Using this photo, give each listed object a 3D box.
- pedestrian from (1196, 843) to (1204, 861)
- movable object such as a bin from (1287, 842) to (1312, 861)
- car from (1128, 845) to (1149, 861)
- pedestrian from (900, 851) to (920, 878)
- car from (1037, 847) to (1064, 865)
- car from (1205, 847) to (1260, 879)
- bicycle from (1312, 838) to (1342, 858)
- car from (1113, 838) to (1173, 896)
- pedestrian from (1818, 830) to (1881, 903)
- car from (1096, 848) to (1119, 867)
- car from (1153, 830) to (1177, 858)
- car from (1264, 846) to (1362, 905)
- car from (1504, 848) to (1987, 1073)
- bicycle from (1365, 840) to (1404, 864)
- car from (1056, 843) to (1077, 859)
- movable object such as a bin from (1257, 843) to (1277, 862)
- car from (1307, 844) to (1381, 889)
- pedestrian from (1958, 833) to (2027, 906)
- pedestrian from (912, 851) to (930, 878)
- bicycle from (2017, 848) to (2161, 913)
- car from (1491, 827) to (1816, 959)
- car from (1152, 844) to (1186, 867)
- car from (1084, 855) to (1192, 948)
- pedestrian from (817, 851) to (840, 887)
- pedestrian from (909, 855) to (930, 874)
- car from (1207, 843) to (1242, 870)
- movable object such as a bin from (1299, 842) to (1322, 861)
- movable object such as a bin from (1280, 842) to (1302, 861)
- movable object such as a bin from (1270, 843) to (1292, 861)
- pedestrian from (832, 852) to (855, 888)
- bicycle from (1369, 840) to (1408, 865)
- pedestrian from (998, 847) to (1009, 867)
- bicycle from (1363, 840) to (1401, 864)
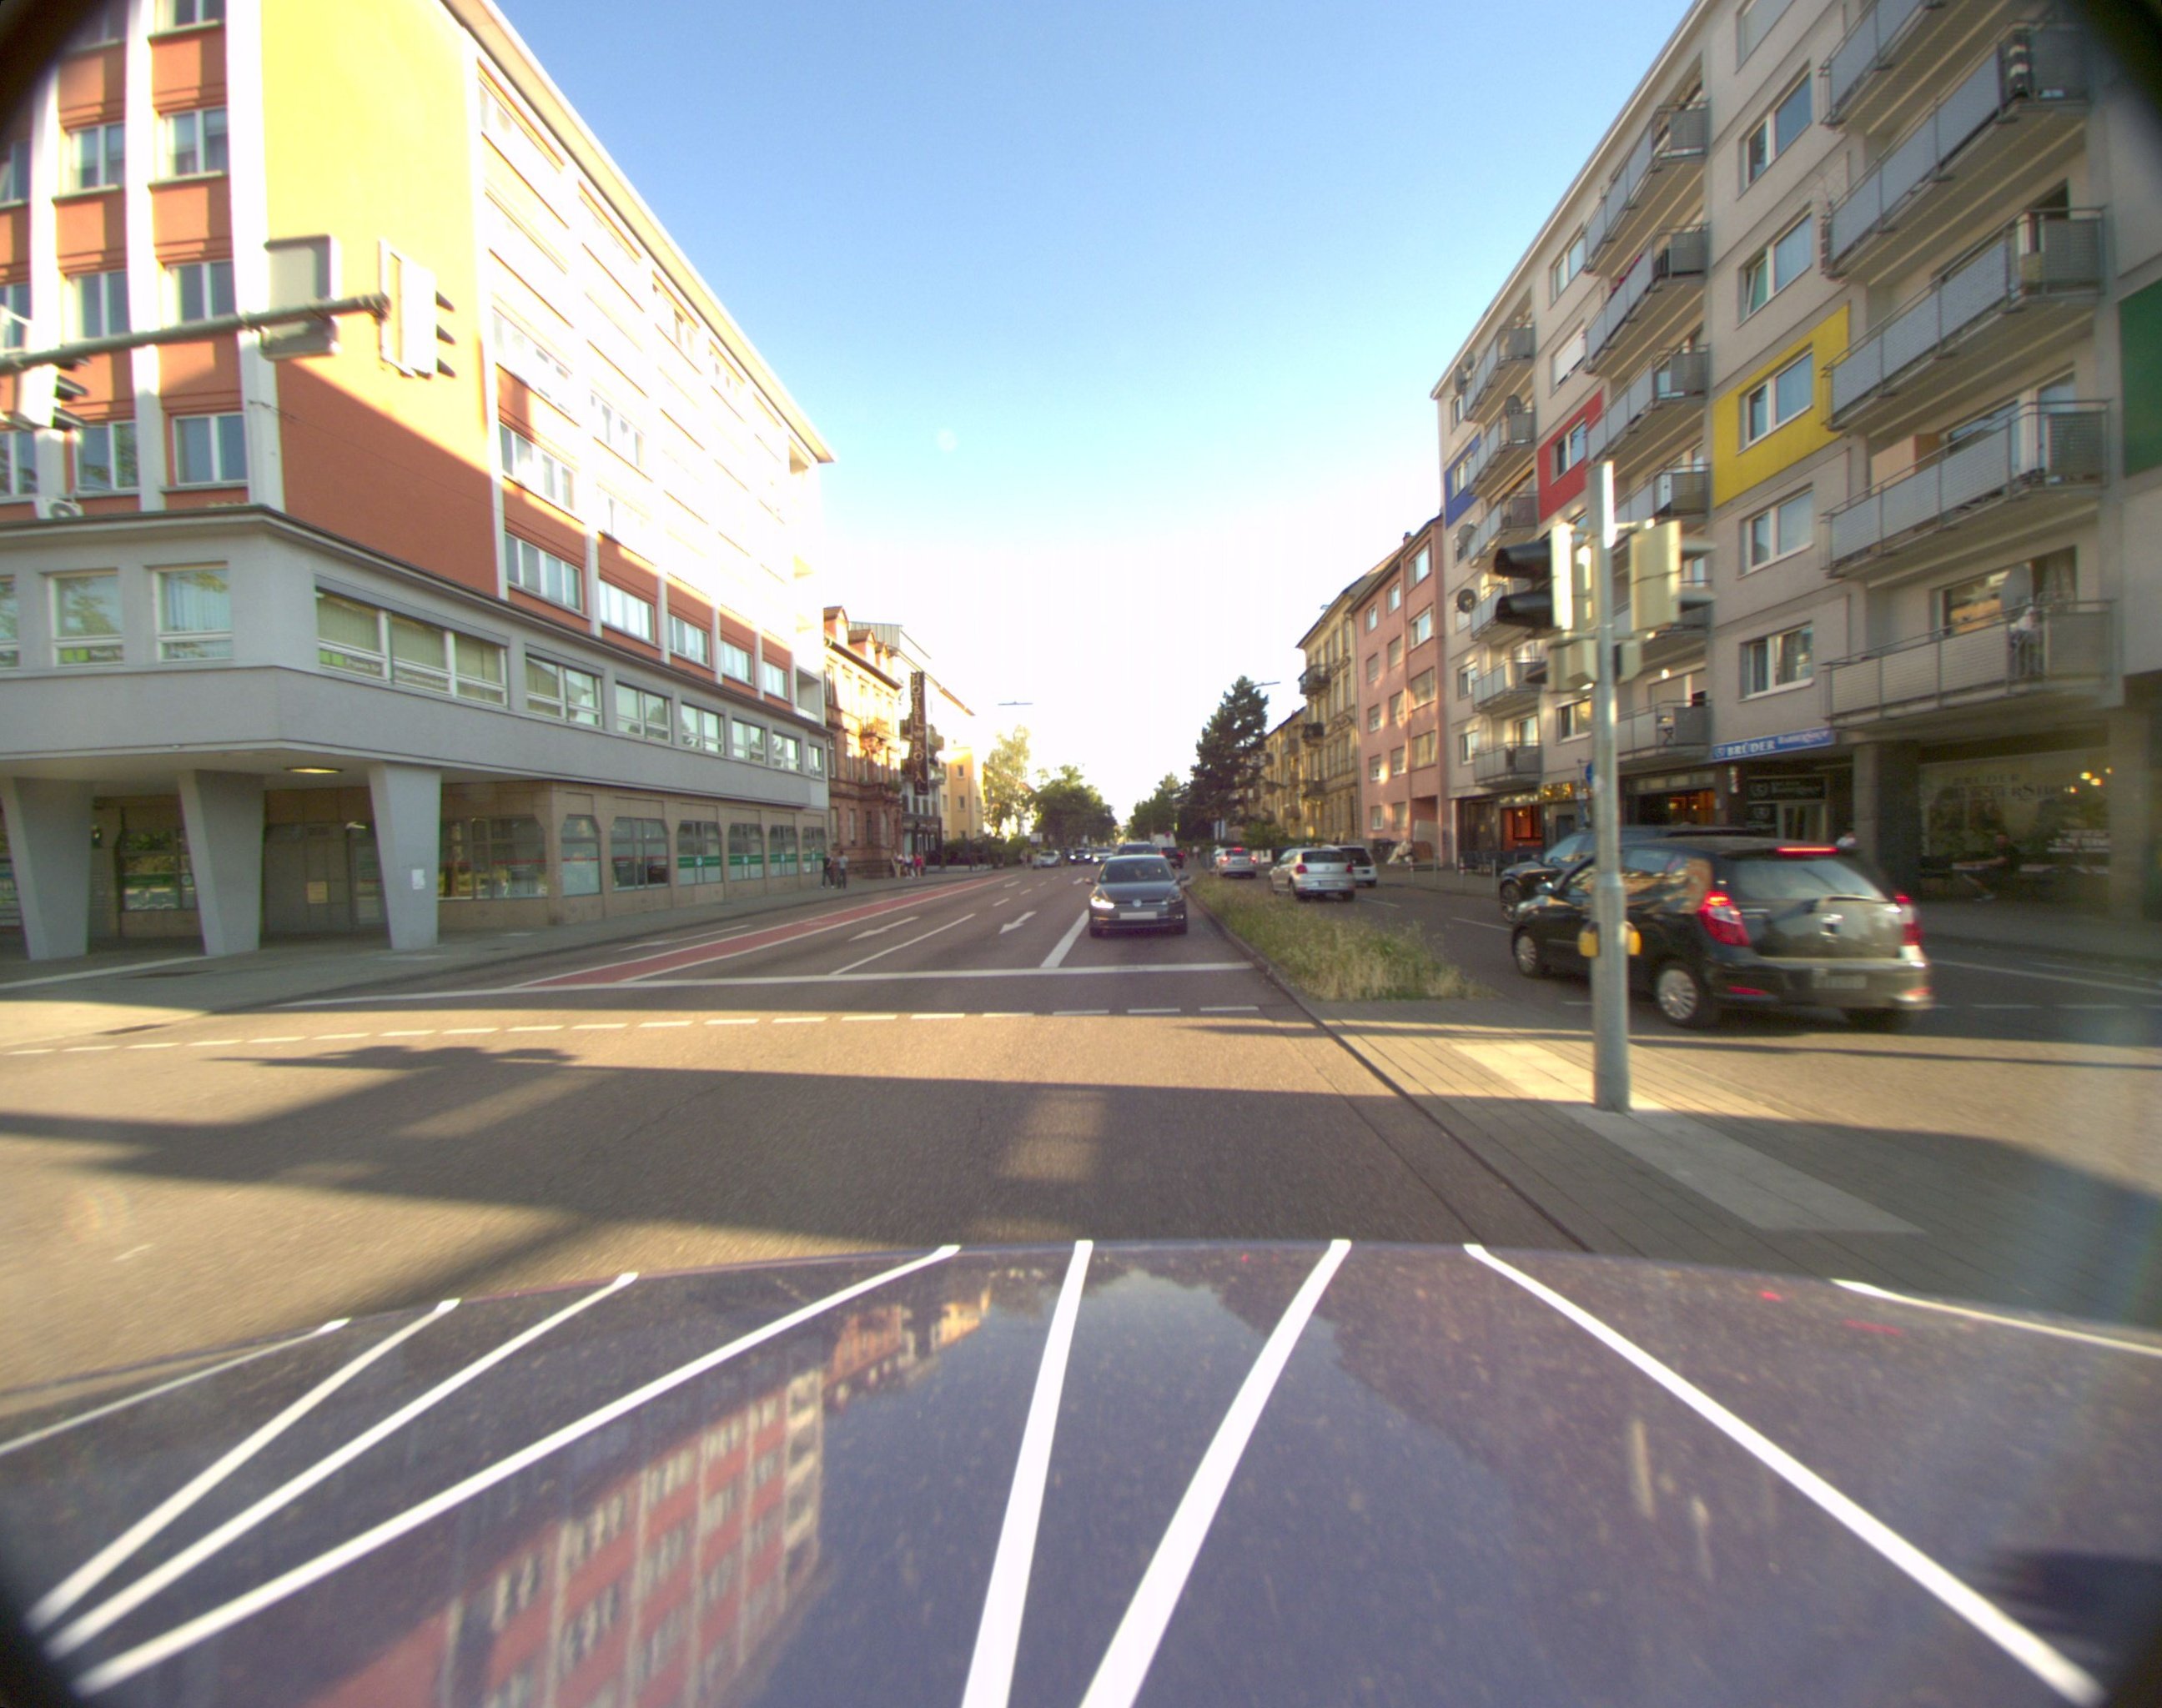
[{"bbox_3d":[10.435,-0.177,66.554,0.577,1.591,0.481,-2,1,4],"label":"pedestrian"},{"bbox_3d":[14.603,-0.169,50.800,1.295,1.226,0.927,-3,2,-36],"label":"movable object such as a bin"},{"bbox_3d":[5.387,-0.134,71.435,1.596,1.463,3.984,-1,1,-1],"label":"car"},{"bbox_3d":[-10.278,0.605,45.651,0.786,1.579,1.011,2,2,8],"label":"pedestrian"},{"bbox_3d":[-2.754,0.171,69.052,1.905,1.509,4.075,-2,1,5],"label":"car"},{"bbox_3d":[7.083,0.372,35.935,1.713,1.417,4.101,-1,1,-1],"label":"car"},{"bbox_3d":[16.003,-0.399,49.469,1.779,1.184,0.473,-2,1,2],"label":"bicycle"},{"bbox_3d":[2.127,0.378,26.425,1.894,1.843,4.467,-1,1,4],"label":"car"},{"bbox_3d":[15.770,0.242,15.604,0.625,1.458,0.658,-2,1,-1],"label":"pedestrian"},{"bbox_3d":[2.372,0.259,67.749,1.906,1.532,4.000,-2,1,4],"label":"car"},{"bbox_3d":[8.385,-0.999,76.478,2.135,2.741,4.466,-1,1,3],"label":"car"},{"bbox_3d":[6.482,0.535,21.621,1.679,1.536,3.806,-1,1,1],"label":"car"},{"bbox_3d":[5.567,0.728,7.019,1.581,1.536,3.478,0,1,4],"label":"car"},{"bbox_3d":[15.764,-0.086,39.495,1.779,1.184,0.473,-2,1,2],"label":"bicycle"},{"bbox_3d":[-1.548,-0.373,84.797,1.946,1.616,4.194,-2,1,4],"label":"car"},{"bbox_3d":[12.966,-0.117,53.012,1.196,1.226,0.847,-3,2,-44],"label":"movable object such as a bin"},{"bbox_3d":[9.581,0.428,27.947,1.679,1.536,3.638,0,1,4],"label":"car"},{"bbox_3d":[16.951,0.277,14.139,0.627,1.306,0.808,-3,2,-39],"label":"pedestrian"},{"bbox_3d":[-9.569,0.620,45.427,0.737,1.579,1.011,2,2,8],"label":"pedestrian"},{"bbox_3d":[17.479,0.420,13.050,0.626,0.993,1.696,-2,1,-5],"label":"bicycle"},{"bbox_3d":[8.728,0.485,12.281,1.820,1.701,4.786,0,1,3],"label":"car"},{"bbox_3d":[6.041,0.088,52.795,1.680,1.536,4.100,-1,1,-3],"label":"car"},{"bbox_3d":[1.152,0.823,15.170,1.770,1.450,4.270,-3,1,5],"label":"car"},{"bbox_3d":[-12.398,0.747,37.336,0.667,1.716,1.011,-2,1,5],"label":"pedestrian"},{"bbox_3d":[-10.503,0.687,49.338,1.100,1.129,0.924,-2,1,2],"label":"pedestrian"},{"bbox_3d":[8.693,0.144,46.253,1.539,1.584,2.807,-1,1,-1],"label":"car"},{"bbox_3d":[15.125,-0.182,50.018,1.195,1.226,0.847,-3,2,-36],"label":"movable object such as a bin"},{"bbox_3d":[14.273,-0.167,51.719,1.195,1.226,0.847,-3,2,-36],"label":"movable object such as a bin"},{"bbox_3d":[13.794,-0.154,52.459,1.195,1.226,0.847,-3,2,-36],"label":"movable object such as a bin"},{"bbox_3d":[-11.664,0.765,37.357,0.667,1.716,1.011,-2,1,5],"label":"pedestrian"},{"bbox_3d":[15.693,-0.075,38.764,1.779,1.184,0.473,-2,1,2],"label":"bicycle"},{"bbox_3d":[-6.400,0.256,62.746,0.738,1.593,1.011,1,2,5],"label":"pedestrian"},{"bbox_3d":[15.883,-0.104,40.067,1.779,1.184,0.473,-2,1,2],"label":"bicycle"}]
